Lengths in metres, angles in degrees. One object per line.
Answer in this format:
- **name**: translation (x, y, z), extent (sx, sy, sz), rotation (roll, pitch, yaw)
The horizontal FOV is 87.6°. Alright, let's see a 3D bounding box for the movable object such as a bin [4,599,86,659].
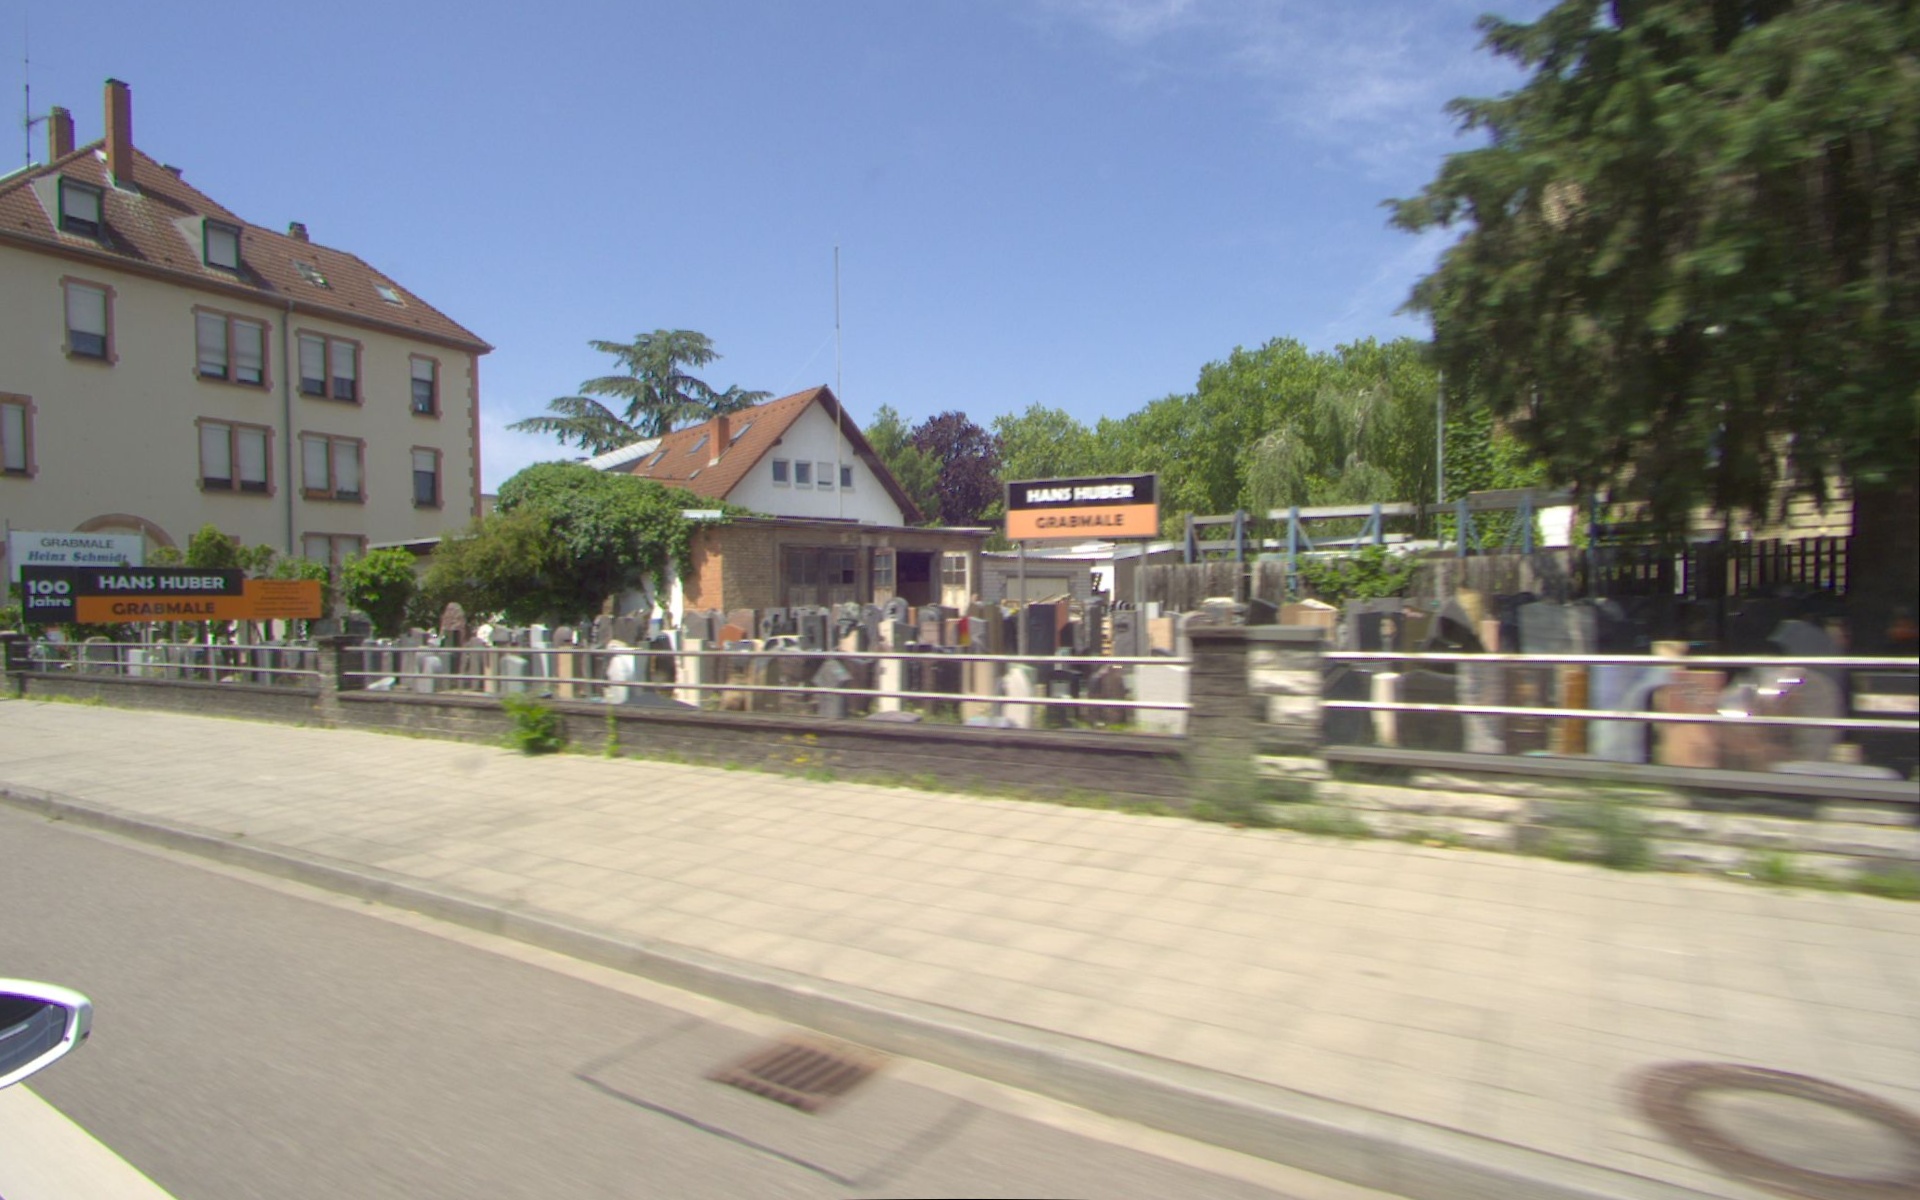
- **movable object such as a bin**: translation (-24.559, 0.755, 26.892), extent (1.031, 1.519, 1.326), rotation (0, 2, 30)
